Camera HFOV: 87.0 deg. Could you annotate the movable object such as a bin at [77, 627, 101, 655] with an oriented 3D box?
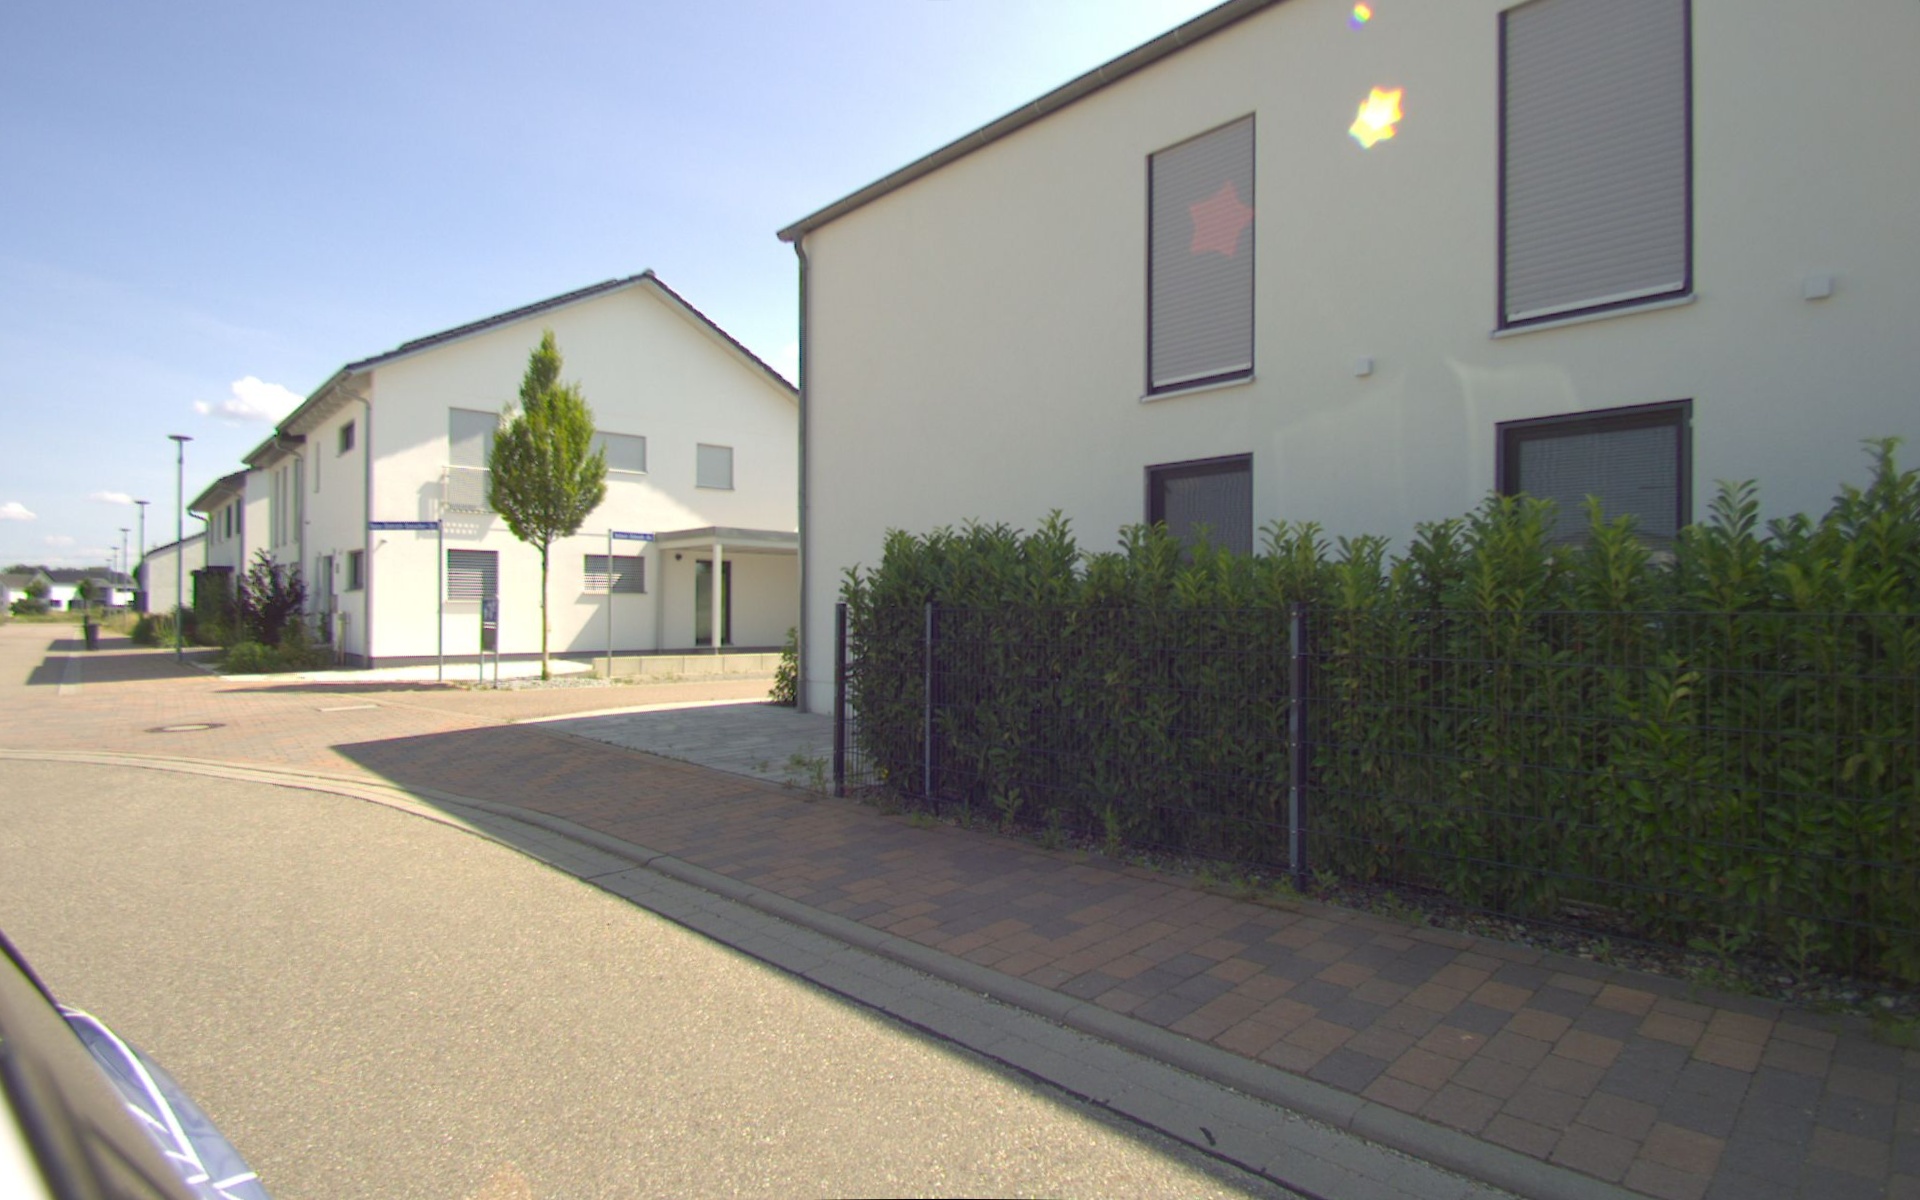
[{"bbox_3d":[-29.449,1.368,34.221,0.588,0.928,0.462,1,-1,-41],"label":"movable object such as a bin"}]
